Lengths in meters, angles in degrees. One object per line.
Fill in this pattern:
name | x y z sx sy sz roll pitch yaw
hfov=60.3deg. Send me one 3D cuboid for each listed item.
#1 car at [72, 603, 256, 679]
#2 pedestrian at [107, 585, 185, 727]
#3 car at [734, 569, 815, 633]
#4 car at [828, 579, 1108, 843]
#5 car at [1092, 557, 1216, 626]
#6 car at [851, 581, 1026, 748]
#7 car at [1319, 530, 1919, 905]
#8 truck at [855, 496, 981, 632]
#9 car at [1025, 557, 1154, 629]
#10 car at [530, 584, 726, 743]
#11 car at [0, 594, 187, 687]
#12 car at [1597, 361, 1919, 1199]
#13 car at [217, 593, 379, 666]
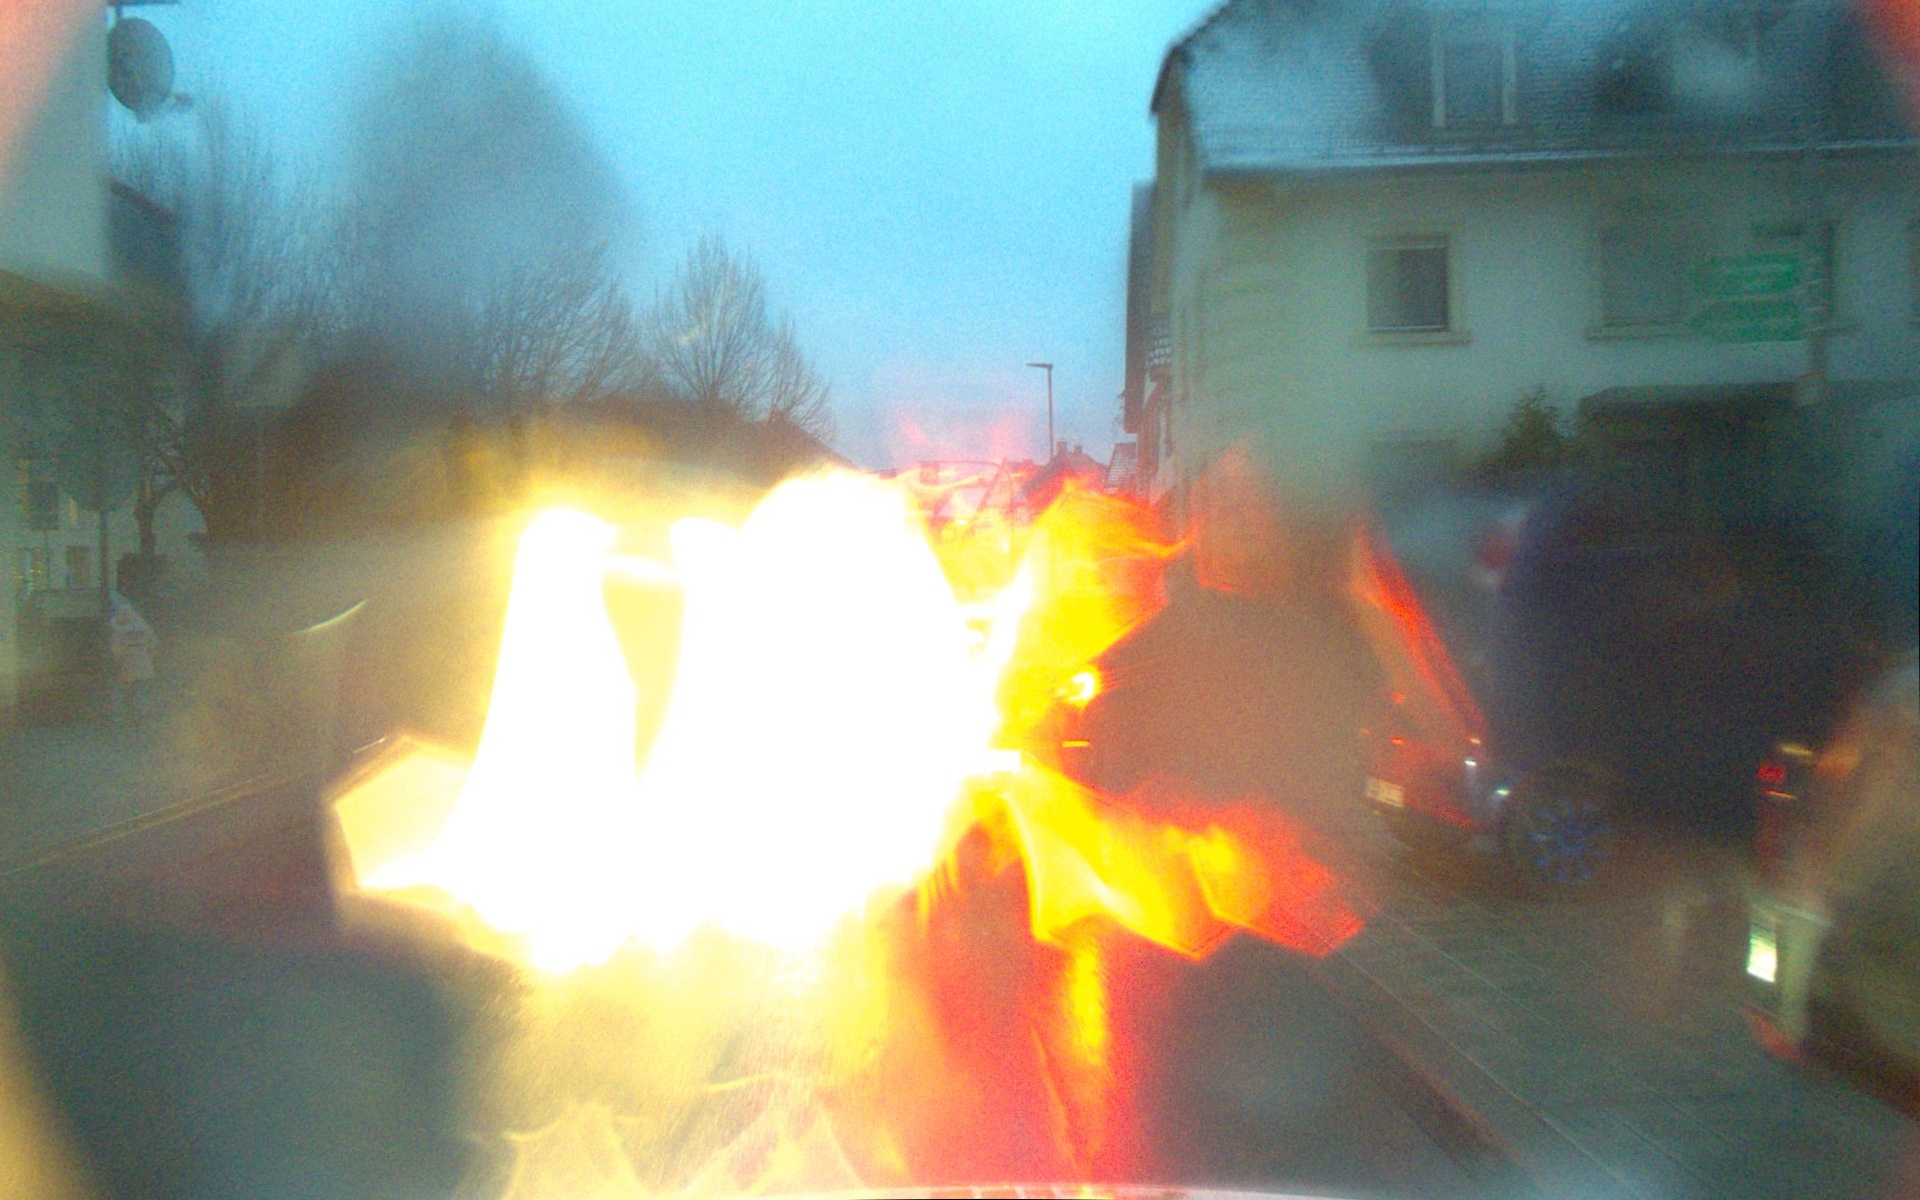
car | -19.630 0.995 40.803 3.903 1.760 1.820 -1 1 19
pedestrian | -8.769 0.588 17.810 0.643 1.484 0.641 -1 1 -37
car | -4.959 -0.009 44.745 1.774 1.624 4.398 -1 1 -2
car | 0.019 0.627 11.193 1.605 1.507 3.378 0 0 -1
car | 6.464 -0.292 55.169 4.010 2.189 1.915 -1 1 6
car | -0.260 0.572 16.821 1.605 1.507 3.270 0 1 -2
car | 3.955 0.490 8.412 3.796 1.607 1.680 -2 0 -7
truck | -1.194 -0.889 42.858 2.955 3.183 7.995 0 1 -3
car | 4.142 -0.233 52.828 4.010 2.200 1.915 -1 1 6
car | -3.541 0.617 18.149 1.605 1.562 3.404 -1 1 -3
car | -20.030 0.911 37.999 3.903 2.023 1.820 -1 1 19
car | 3.801 0.441 3.021 4.514 1.806 1.943 -2 1 -6
car | -18.434 0.809 46.088 3.903 1.944 1.820 -1 1 19
